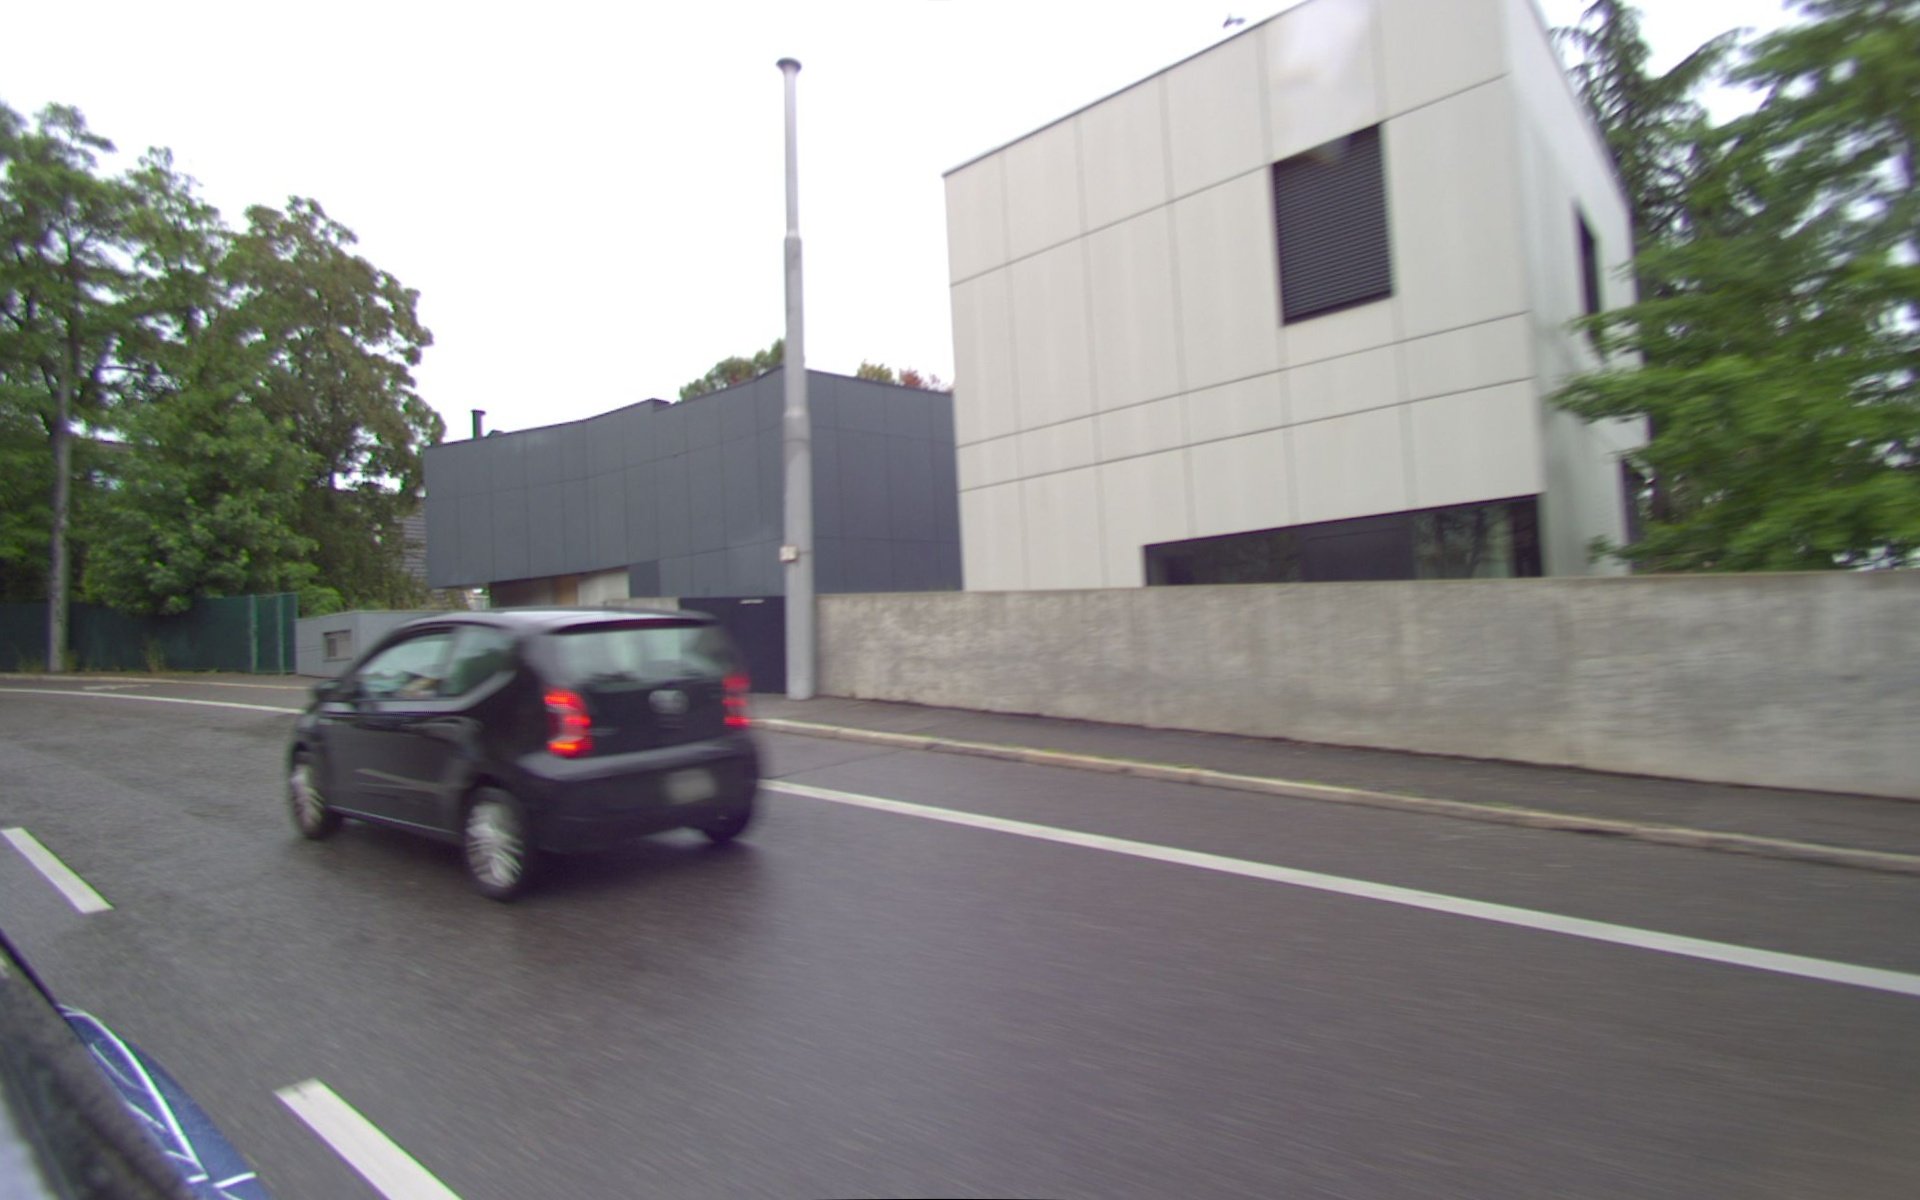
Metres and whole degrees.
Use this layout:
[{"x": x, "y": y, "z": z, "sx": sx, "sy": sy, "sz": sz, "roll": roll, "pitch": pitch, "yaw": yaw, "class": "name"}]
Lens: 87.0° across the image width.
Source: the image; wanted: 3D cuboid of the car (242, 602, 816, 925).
[{"x": -2.861, "y": 0.797, "z": 6.400, "sx": 3.795, "sy": 1.431, "sz": 1.634, "roll": -2, "pitch": 0, "yaw": 37, "class": "car"}]

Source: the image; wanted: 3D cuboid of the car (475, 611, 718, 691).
[{"x": -6.441, "y": 0.889, "z": 18.312, "sx": 3.932, "sy": 1.311, "sz": 1.903, "roll": 0, "pitch": -2, "yaw": -16, "class": "car"}]
